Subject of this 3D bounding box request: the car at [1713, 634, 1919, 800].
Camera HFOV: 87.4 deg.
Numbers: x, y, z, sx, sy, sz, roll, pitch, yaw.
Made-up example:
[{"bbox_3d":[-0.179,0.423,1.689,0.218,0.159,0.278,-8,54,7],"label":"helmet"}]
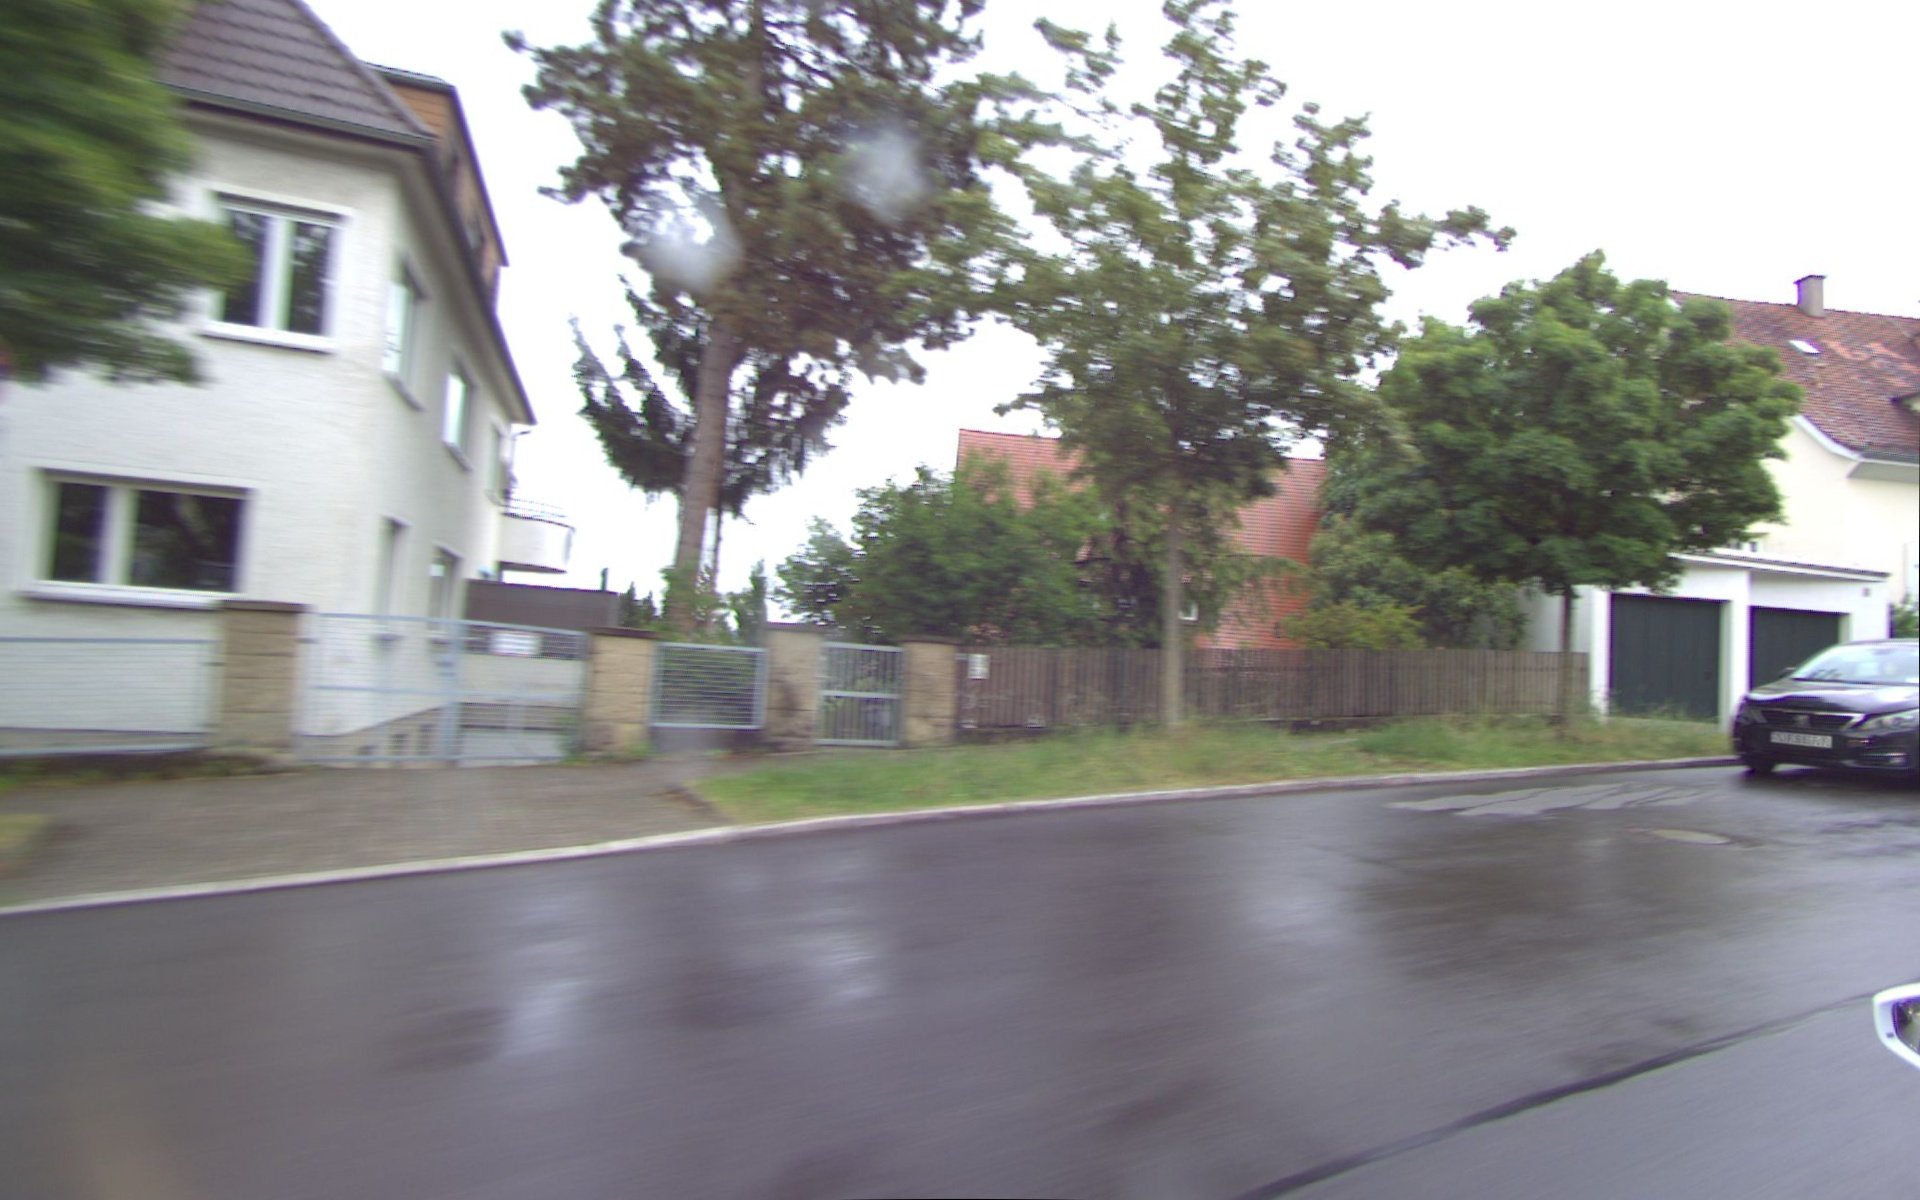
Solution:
[{"bbox_3d":[10.026,1.142,10.619,3.842,1.485,1.666,2,-3,-25],"label":"car"}]
